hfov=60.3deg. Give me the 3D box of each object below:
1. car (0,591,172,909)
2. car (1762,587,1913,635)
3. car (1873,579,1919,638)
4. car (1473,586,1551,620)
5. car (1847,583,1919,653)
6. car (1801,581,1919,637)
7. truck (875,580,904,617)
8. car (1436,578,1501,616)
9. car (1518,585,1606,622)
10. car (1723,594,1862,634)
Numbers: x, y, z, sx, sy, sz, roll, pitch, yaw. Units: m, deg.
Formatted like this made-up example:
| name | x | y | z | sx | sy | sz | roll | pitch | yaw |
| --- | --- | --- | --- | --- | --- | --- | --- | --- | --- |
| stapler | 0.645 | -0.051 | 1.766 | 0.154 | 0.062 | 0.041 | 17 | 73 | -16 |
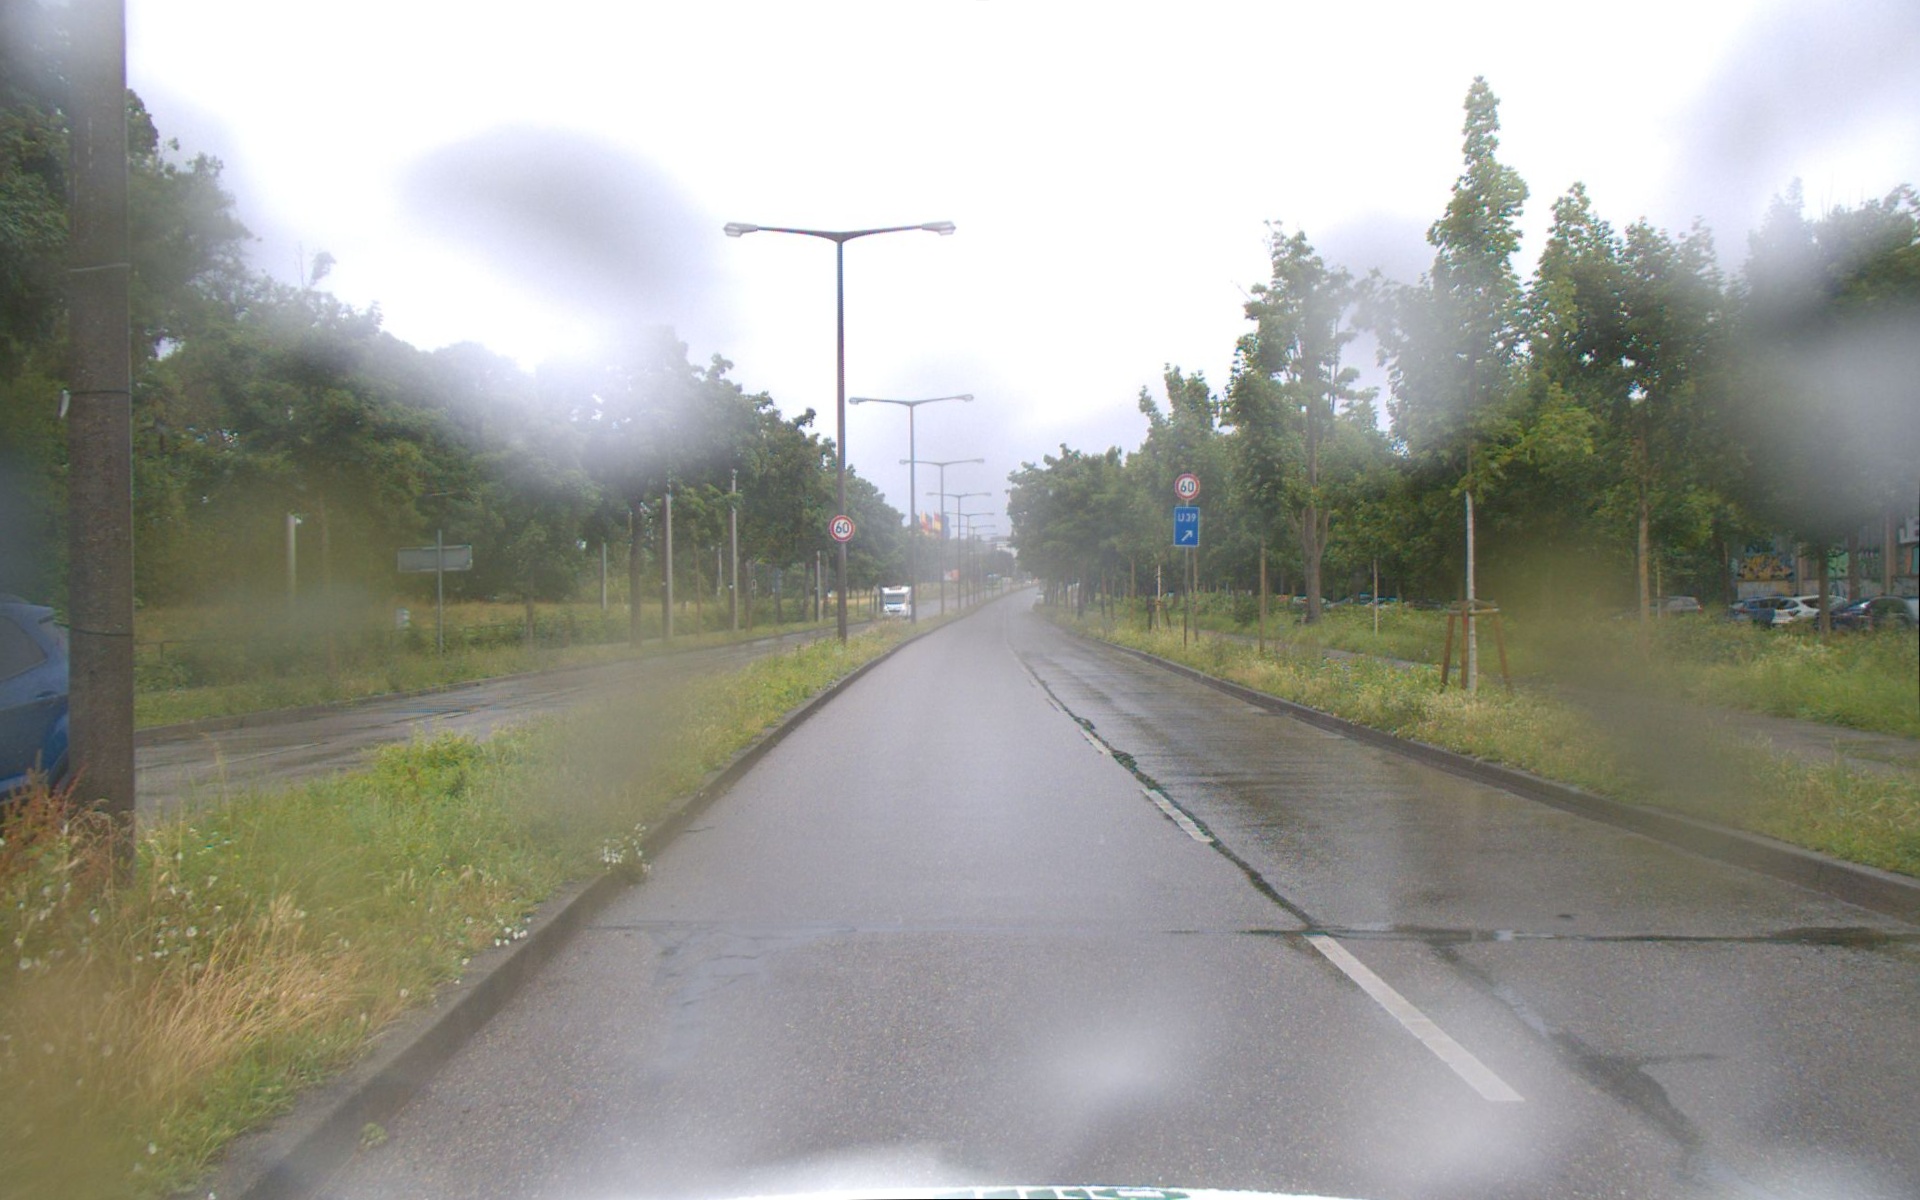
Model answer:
| name | x | y | z | sx | sy | sz | roll | pitch | yaw |
| --- | --- | --- | --- | --- | --- | --- | --- | --- | --- |
| car | -5.944 | 0.834 | 8.491 | 1.708 | 1.679 | 4.136 | -3 | 0 | 0 |
| car | 31.443 | 0.396 | 59.351 | 4.480 | 1.574 | 1.861 | 1 | -1 | -4 |
| car | 30.311 | 0.302 | 49.877 | 4.478 | 1.735 | 1.999 | 1 | -1 | -3 |
| car | 32.040 | 0.186 | 96.073 | 3.873 | 1.852 | 1.897 | 1 | -1 | 2 |
| car | 22.716 | 0.397 | 38.913 | 1.708 | 1.470 | 4.124 | -1 | 2 | 4 |
| car | 29.675 | 0.311 | 53.012 | 4.480 | 1.673 | 1.998 | 1 | -1 | -4 |
| truck | -5.919 | -0.090 | 139.016 | 2.094 | 2.893 | 5.073 | -2 | -1 | 0 |
| car | 32.701 | -0.182 | 106.429 | 3.644 | 2.365 | 1.588 | 1 | -1 | 2 |
| car | 31.431 | 0.179 | 86.413 | 3.873 | 1.852 | 1.897 | 1 | -1 | 2 |
| car | 31.032 | 0.518 | 61.707 | 4.311 | 1.357 | 1.836 | 1 | -1 | -4 |
